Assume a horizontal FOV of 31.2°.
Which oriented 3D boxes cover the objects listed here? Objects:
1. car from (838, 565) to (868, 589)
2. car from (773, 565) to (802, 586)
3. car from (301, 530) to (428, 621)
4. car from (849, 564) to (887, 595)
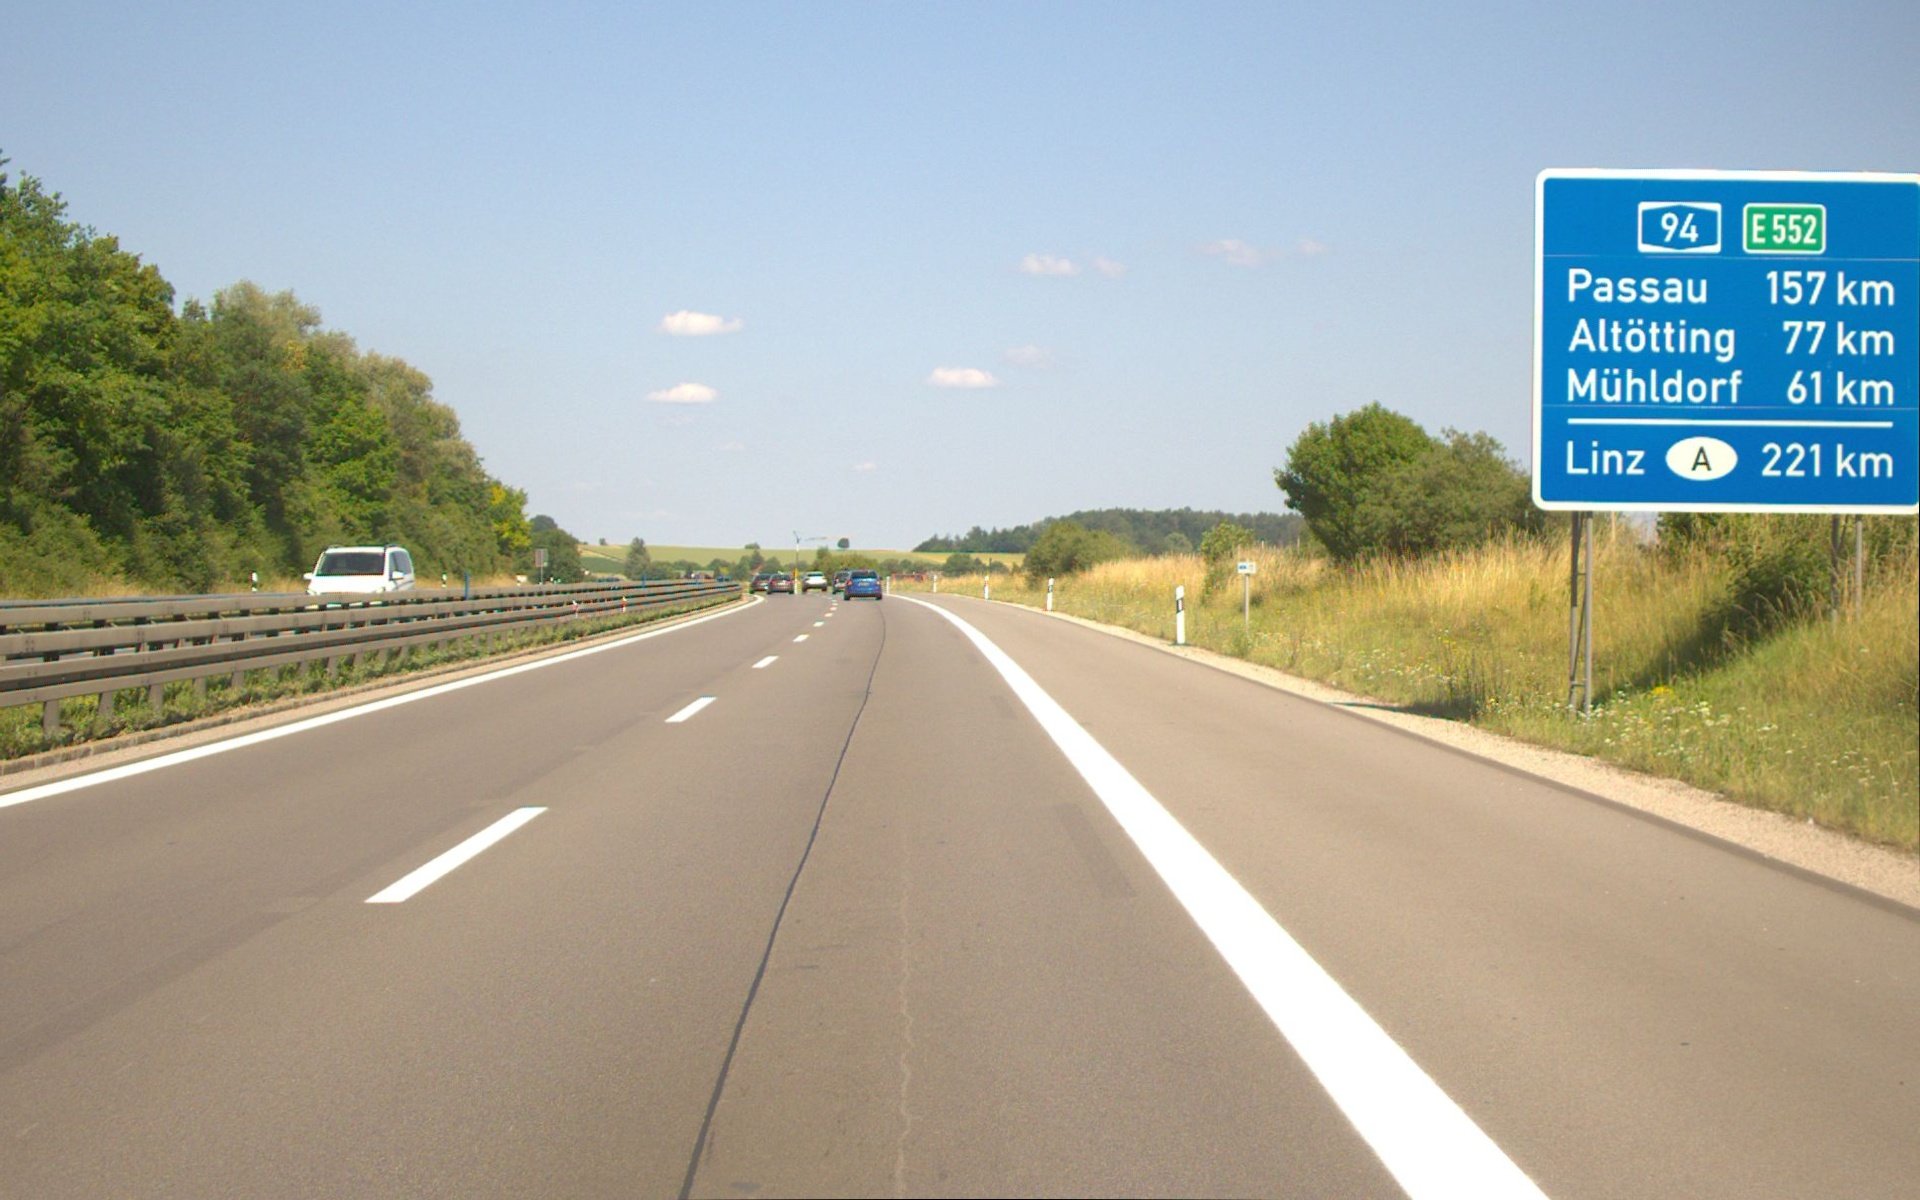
[{"bbox_3d":[-6.799,-1.457,219.016,1.829,1.448,3.592,-1,0,0],"label":"car"},{"bbox_3d":[-12.092,-1.723,240.684,1.829,1.448,3.592,-1,0,0],"label":"car"},{"bbox_3d":[-13.494,-0.577,78.185,1.993,1.983,5.692,0,1,-1],"label":"car"},{"bbox_3d":[-4.383,-0.958,163.533,1.676,1.448,3.592,-1,0,0],"label":"car"}]
